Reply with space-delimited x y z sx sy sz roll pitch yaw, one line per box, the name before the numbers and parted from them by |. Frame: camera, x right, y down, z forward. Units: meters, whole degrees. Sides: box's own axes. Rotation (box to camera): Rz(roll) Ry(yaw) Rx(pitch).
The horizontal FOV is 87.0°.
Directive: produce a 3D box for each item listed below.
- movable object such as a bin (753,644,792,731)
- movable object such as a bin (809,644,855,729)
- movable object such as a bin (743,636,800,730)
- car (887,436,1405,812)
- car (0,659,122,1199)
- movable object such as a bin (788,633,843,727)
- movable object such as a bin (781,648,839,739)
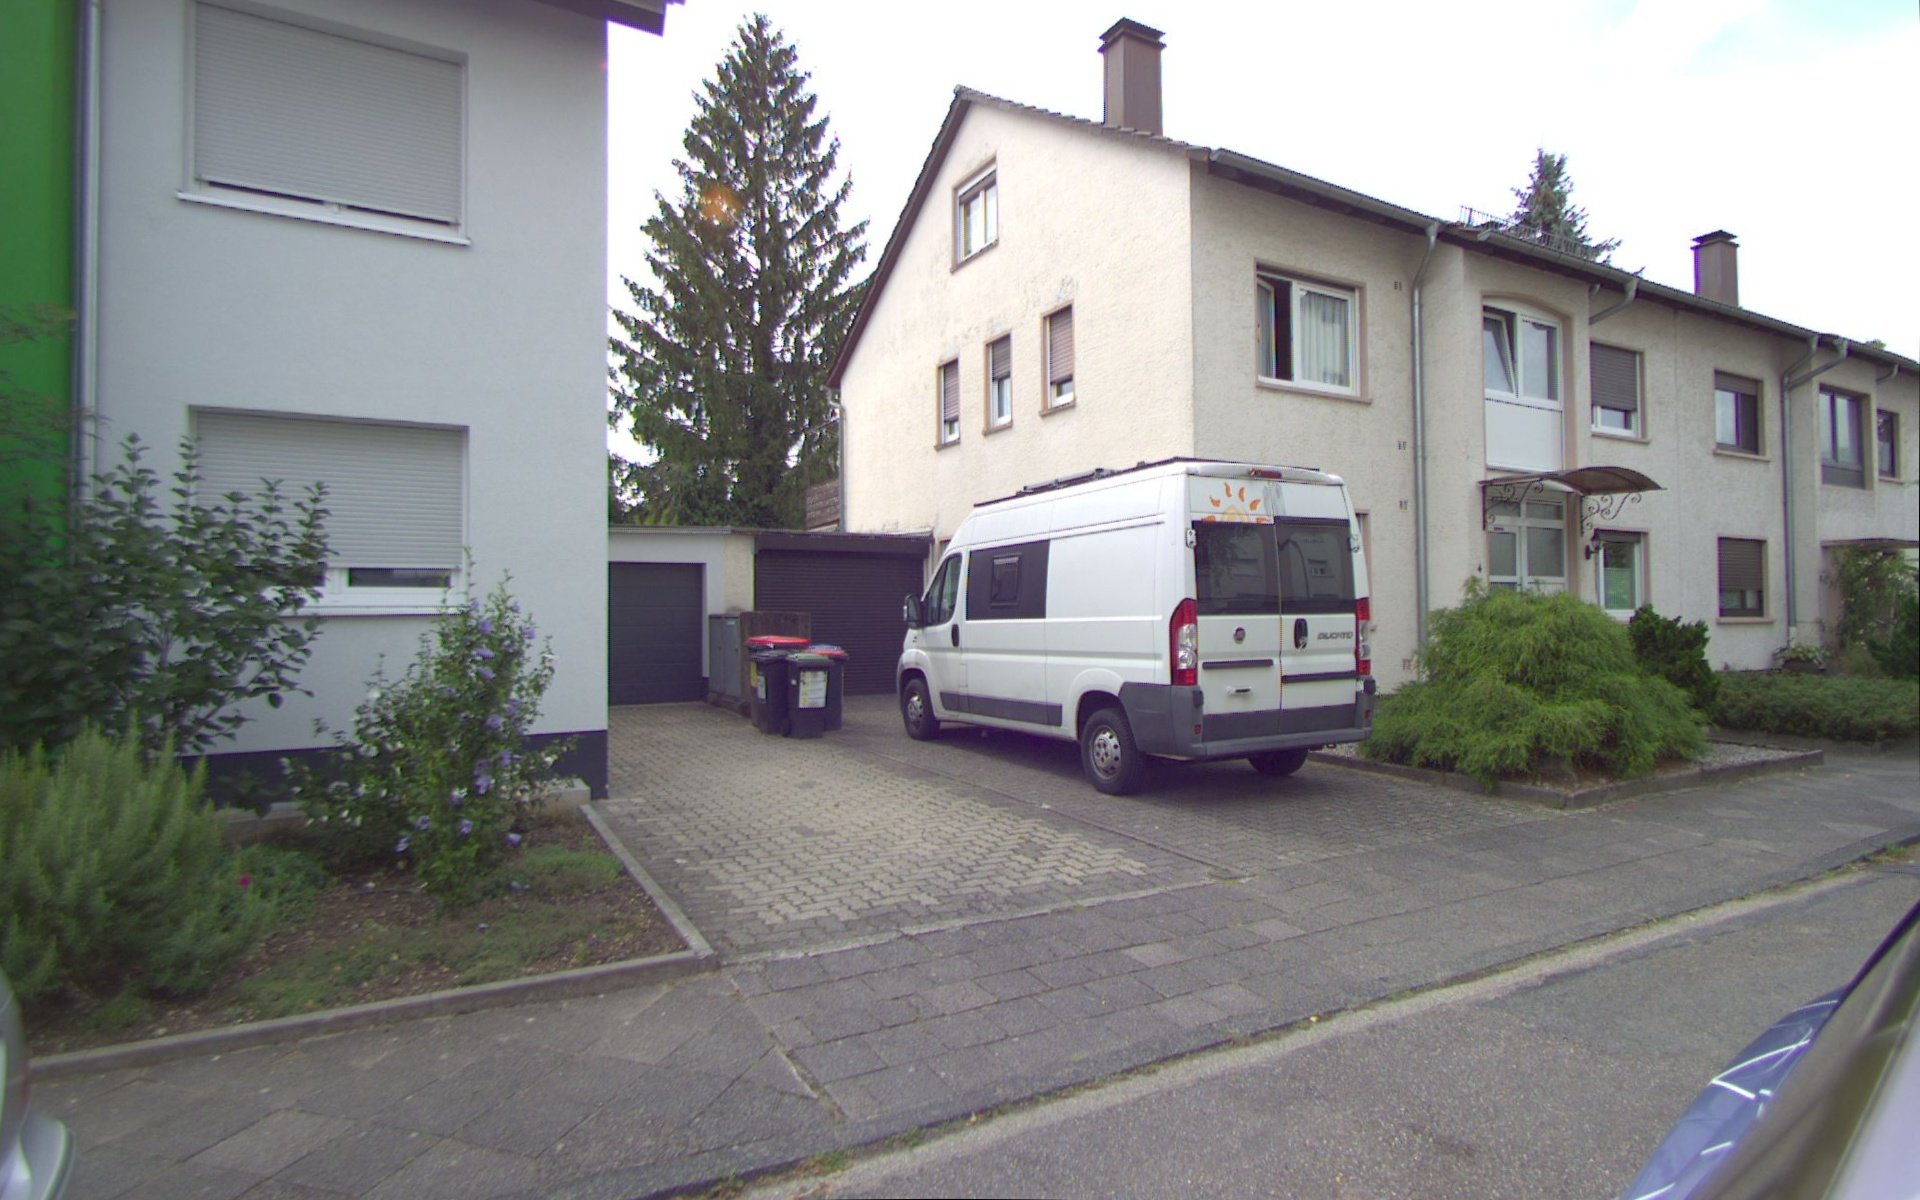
movable object such as a bin | -2.135 0.985 11.527 0.332 0.937 0.356 0 0 -29
movable object such as a bin | -1.499 0.996 11.797 0.394 0.937 0.451 0 0 -29
movable object such as a bin | -2.235 0.969 11.990 0.535 1.045 0.457 0 0 -30
car | 1.342 0.160 9.711 2.192 2.574 5.111 0 0 -28
car | -3.218 0.806 0.221 4.364 1.439 1.791 0 -3 -28
movable object such as a bin | -1.751 0.954 12.271 0.535 1.070 0.457 0 0 -30
movable object such as a bin | -1.654 1.016 11.154 0.472 0.937 0.521 0 0 -29
